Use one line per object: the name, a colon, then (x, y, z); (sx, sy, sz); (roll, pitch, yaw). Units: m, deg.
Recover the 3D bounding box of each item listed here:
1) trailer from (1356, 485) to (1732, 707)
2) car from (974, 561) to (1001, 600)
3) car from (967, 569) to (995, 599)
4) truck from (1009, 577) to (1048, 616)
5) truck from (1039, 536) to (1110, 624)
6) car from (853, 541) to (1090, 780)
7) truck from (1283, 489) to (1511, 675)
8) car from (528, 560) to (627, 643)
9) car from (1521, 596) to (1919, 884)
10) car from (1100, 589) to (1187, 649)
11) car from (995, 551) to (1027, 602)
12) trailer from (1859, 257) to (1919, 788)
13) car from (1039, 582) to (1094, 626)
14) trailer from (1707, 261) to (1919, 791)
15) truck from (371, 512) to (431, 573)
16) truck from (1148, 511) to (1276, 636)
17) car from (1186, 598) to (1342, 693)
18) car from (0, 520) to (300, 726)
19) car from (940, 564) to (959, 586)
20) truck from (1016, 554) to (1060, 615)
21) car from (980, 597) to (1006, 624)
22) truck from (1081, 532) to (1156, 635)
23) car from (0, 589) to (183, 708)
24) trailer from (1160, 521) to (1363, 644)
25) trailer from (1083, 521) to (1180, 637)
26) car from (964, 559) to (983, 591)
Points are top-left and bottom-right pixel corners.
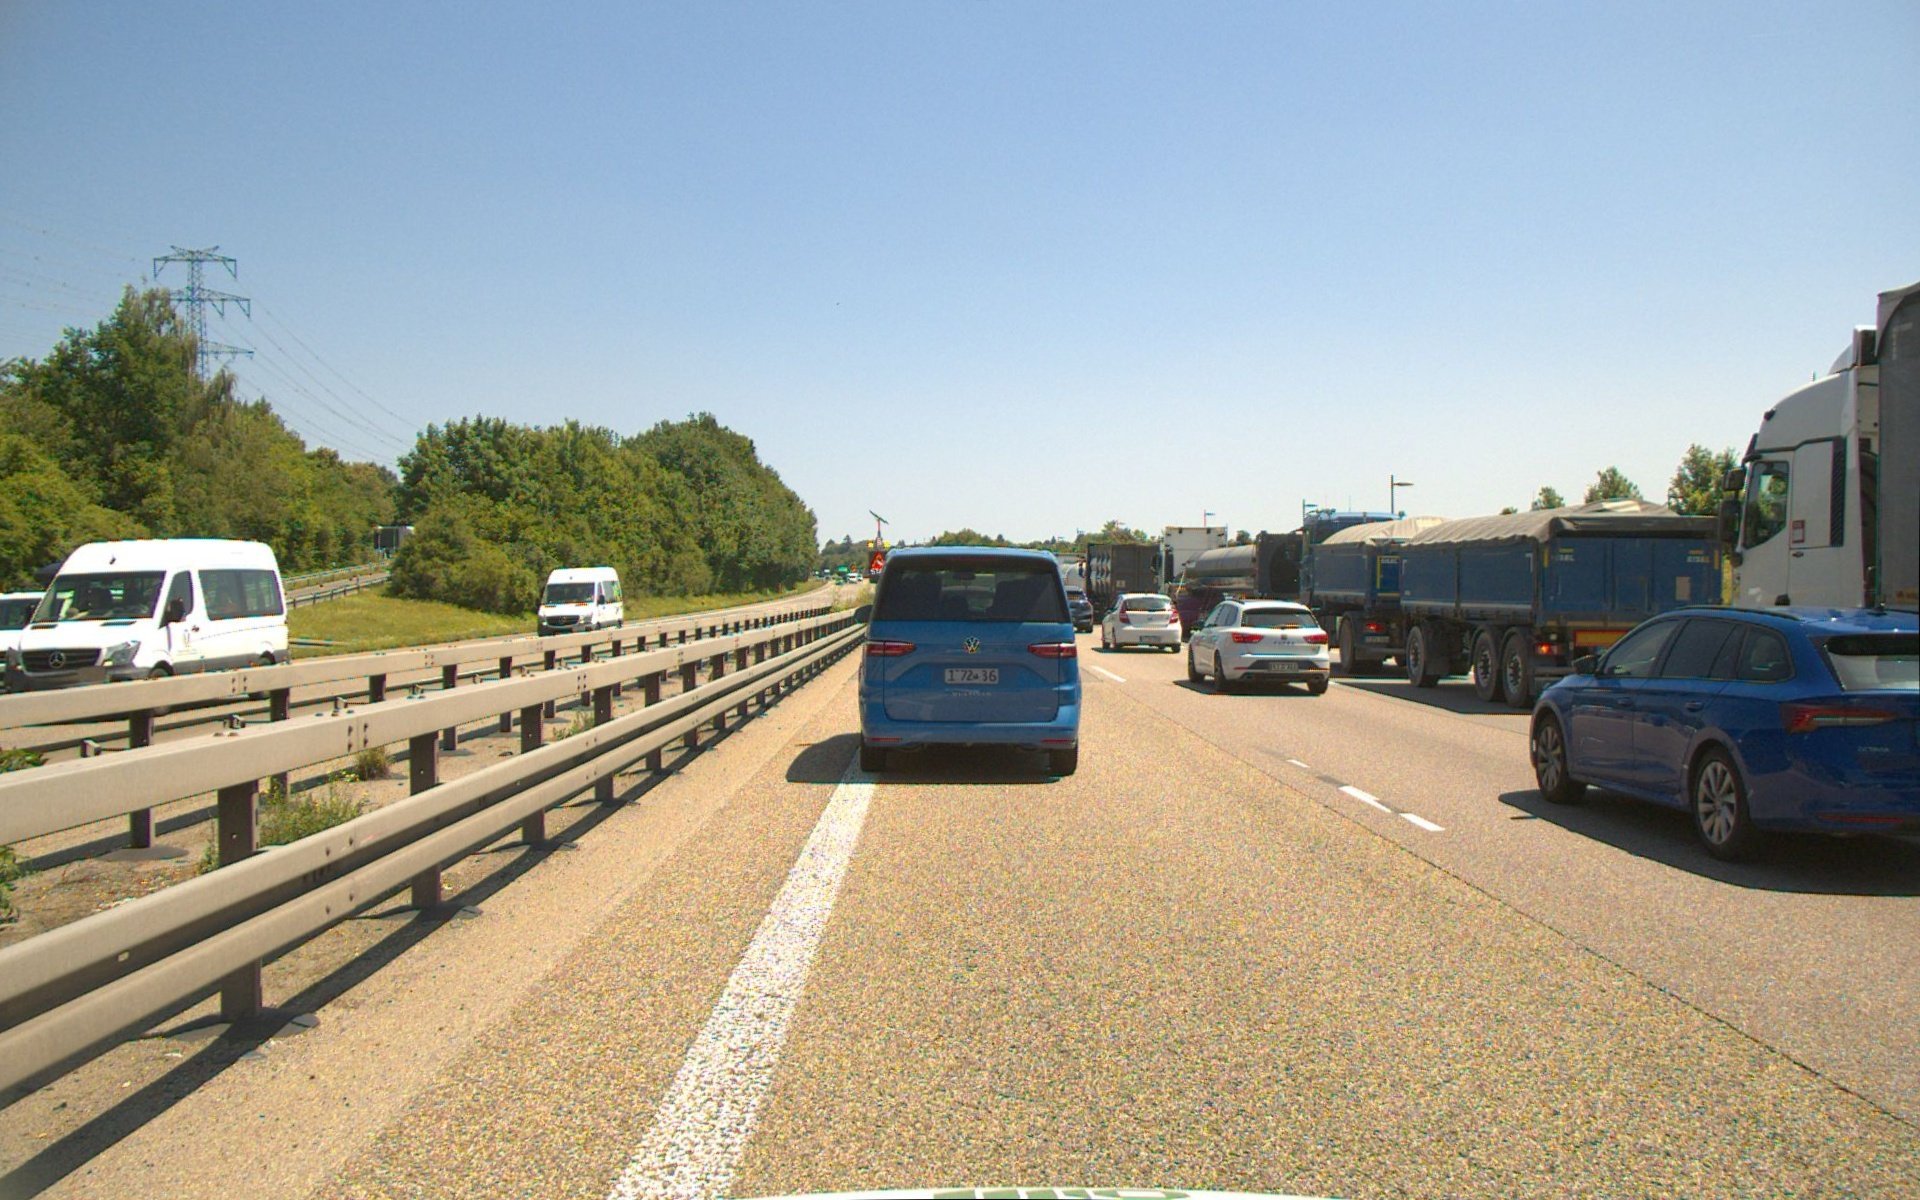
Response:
trailer: (8.801, -0.077, 26.379); (2.688, 2.886, 9.114); (1, 0, 0)
car: (3.856, -2.700, 234.352); (3.155, 5.349, 8.137); (1, -1, -4)
car: (2.040, -1.519, 160.062); (2.499, 2.765, 5.620); (1, 0, -1)
truck: (3.412, -0.143, 82.937); (1.690, 1.890, 3.999); (1, 0, -1)
truck: (7.330, -1.137, 108.220); (3.547, 5.304, 15.688); (1, 0, 0)
car: (0.119, 0.496, 15.166); (1.862, 1.870, 4.000); (1, 0, 1)
truck: (8.732, -0.398, 33.959); (2.688, 3.369, 7.132); (1, 1, 0)
car: (-13.097, 0.070, 56.981); (2.112, 2.639, 5.888); (-1, 0, -1)
car: (5.227, 0.746, 10.723); (1.671, 1.466, 4.427); (1, 0, 0)
car: (4.764, 0.497, 43.471); (1.803, 1.480, 3.999); (1, 0, 0)
car: (5.529, -2.542, 181.525); (3.153, 5.349, 8.143); (1, -1, 0)
trailer: (8.984, -0.542, 6.817); (2.902, 4.120, 13.750); (0, 1, -1)
car: (3.975, 0.168, 62.064); (1.744, 1.551, 3.999); (1, 0, -1)
trailer: (8.876, -0.575, 13.216); (2.865, 4.114, 6.410); (0, 0, 0)
truck: (-72.087, -7.313, 212.958); (4.624, 7.354, 13.499); (1, -1, -31)
truck: (8.944, -0.883, 59.675); (3.551, 4.166, 7.524); (1, -1, 1)
car: (4.829, 0.680, 26.801); (1.829, 1.385, 4.000); (1, 0, 1)
car: (-12.409, 0.341, 25.601); (2.011, 2.697, 5.837); (-4, 0, -1)
car: (-1.689, -3.778, 253.213); (2.436, 3.260, 7.366); (1, 0, -4)
truck: (6.668, -1.262, 142.732); (3.006, 5.006, 10.687); (1, 0, -1)
car: (2.644, 0.854, 133.319); (1.953, 2.049, 3.999); (1, 0, -1)
truck: (8.390, -0.828, 88.265); (3.583, 5.270, 5.709); (1, -1, 2)
car: (-16.309, 0.842, 30.143); (1.827, 1.938, 5.490); (-2, 0, -2)
trailer: (8.783, -0.397, 50.821); (3.571, 3.133, 15.773); (1, 0, 1)
trailer: (8.297, -0.913, 81.845); (3.571, 5.226, 13.076); (1, 0, 1)
car: (2.100, -3.942, 264.459); (2.661, 4.795, 11.558); (1, 0, -1)
